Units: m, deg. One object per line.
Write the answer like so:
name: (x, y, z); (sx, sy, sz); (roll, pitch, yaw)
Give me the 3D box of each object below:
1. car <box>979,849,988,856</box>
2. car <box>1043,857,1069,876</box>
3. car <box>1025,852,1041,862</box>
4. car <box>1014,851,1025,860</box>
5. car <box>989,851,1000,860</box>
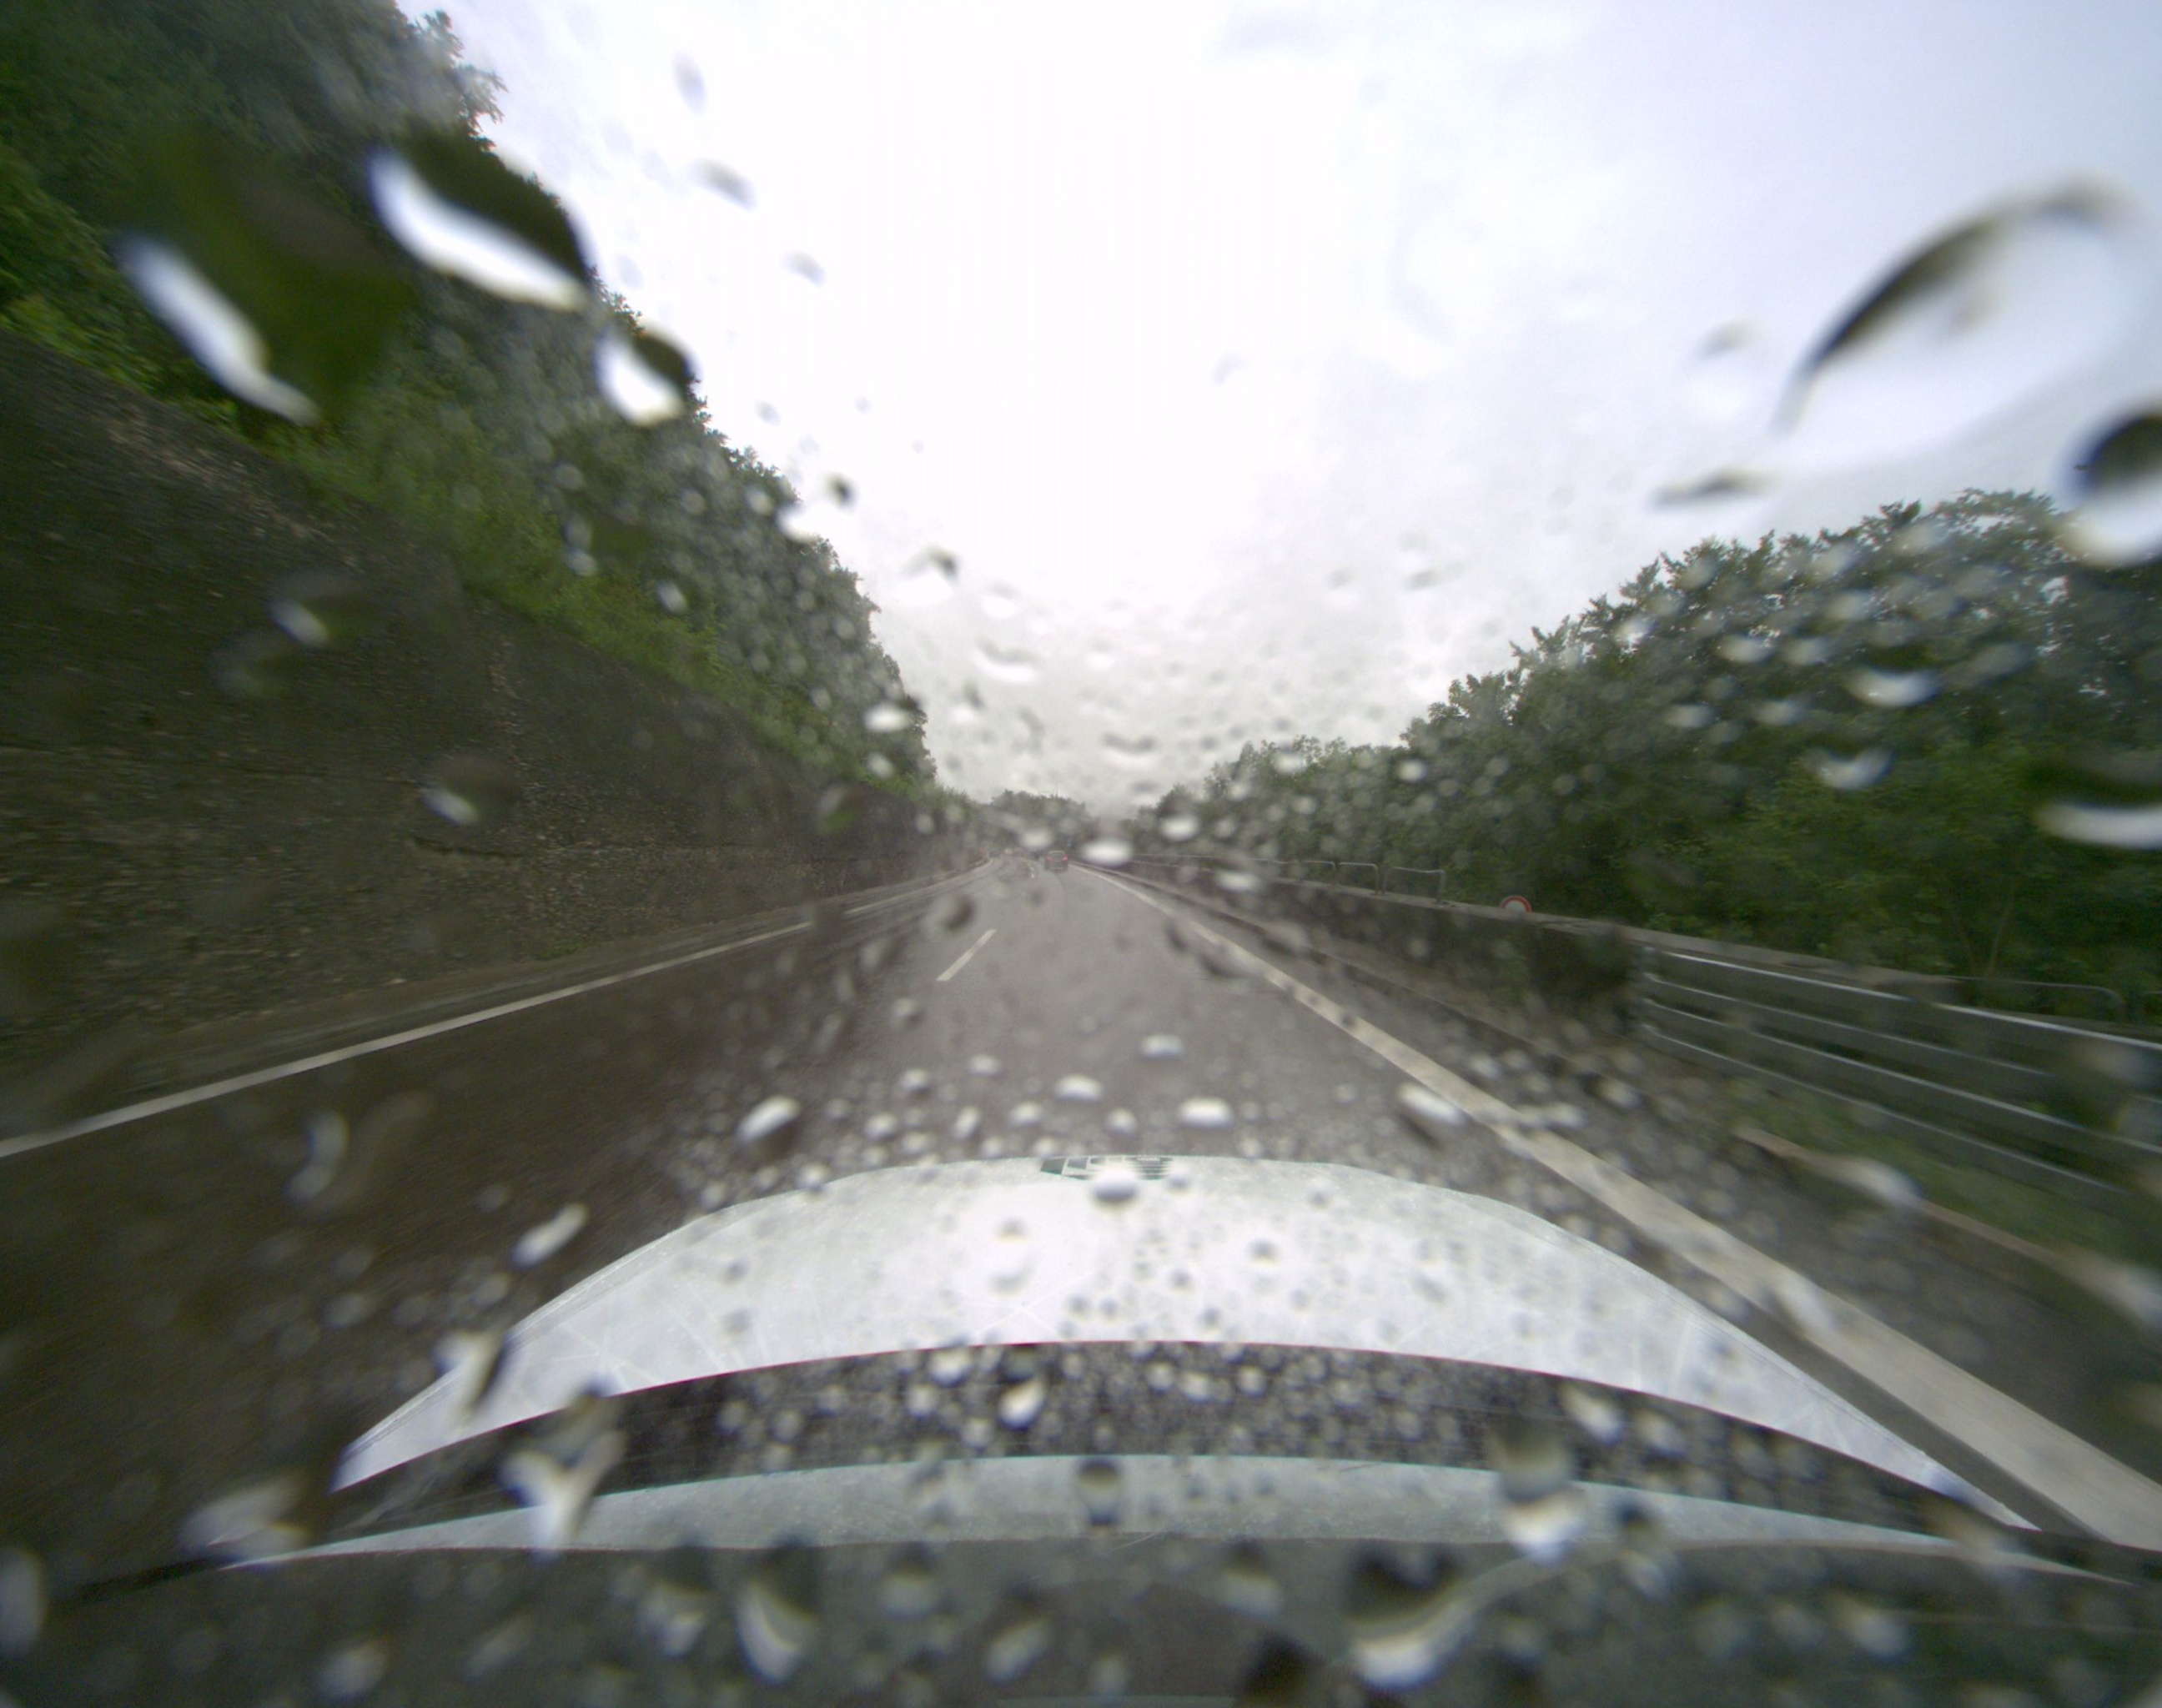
car: (-20.603, -0.315, 172.618); (1.902, 1.499, 3.990); (0, 0, -7)
car: (-2.050, 0.965, 65.277); (1.900, 1.499, 3.994); (0, 0, -4)
car: (-6.967, 0.409, 117.943); (1.903, 1.499, 3.988); (0, 0, -9)
car: (-11.047, 0.223, 146.344); (1.901, 1.499, 3.993); (0, 0, -5)
car: (-15.213, 0.248, 143.835); (1.901, 1.499, 3.993); (0, 0, -5)
